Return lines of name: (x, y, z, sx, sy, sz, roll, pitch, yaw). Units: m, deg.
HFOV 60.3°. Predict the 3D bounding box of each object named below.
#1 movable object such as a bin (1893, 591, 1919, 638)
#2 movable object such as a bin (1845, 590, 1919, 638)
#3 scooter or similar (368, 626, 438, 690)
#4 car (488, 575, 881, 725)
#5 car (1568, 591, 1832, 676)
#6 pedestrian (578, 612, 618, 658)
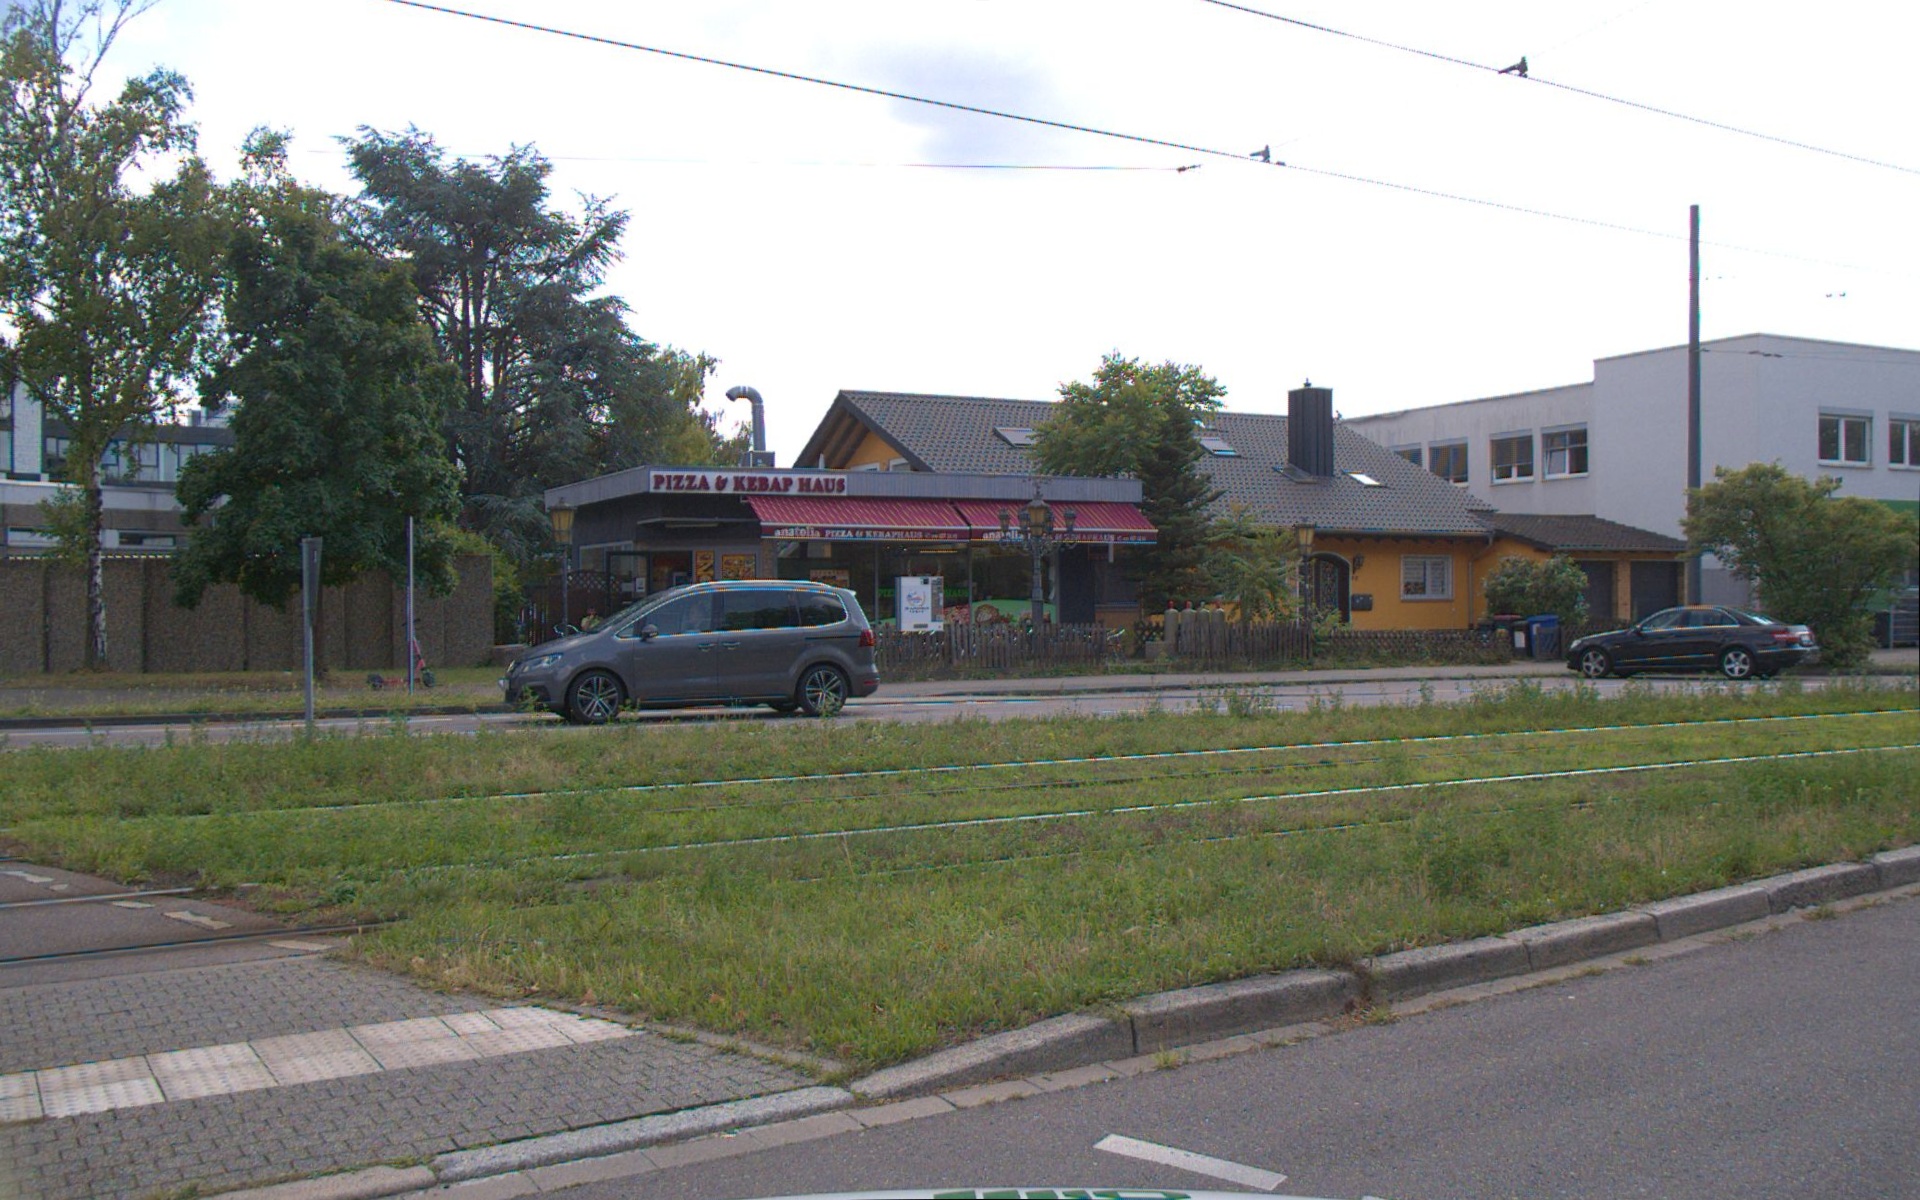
movable object such as a bin: (28.782, 0.408, 48.639, 2.096, 1.350, 1.366, 0, 0, -24)
movable object such as a bin: (26.845, 0.394, 47.692, 2.082, 1.350, 1.366, 0, 0, -24)
scooter or similar: (-9.598, 1.002, 28.531, 1.081, 1.078, 0.401, 1, 1, -12)
car: (-3.526, 0.573, 21.204, 4.662, 1.752, 1.986, 0, 0, -24)
car: (15.003, 0.673, 33.682, 4.500, 1.608, 1.987, -2, -1, 43)
pedestrian: (-7.767, 0.746, 35.502, 0.715, 0.945, 0.772, 1, 1, -22)
